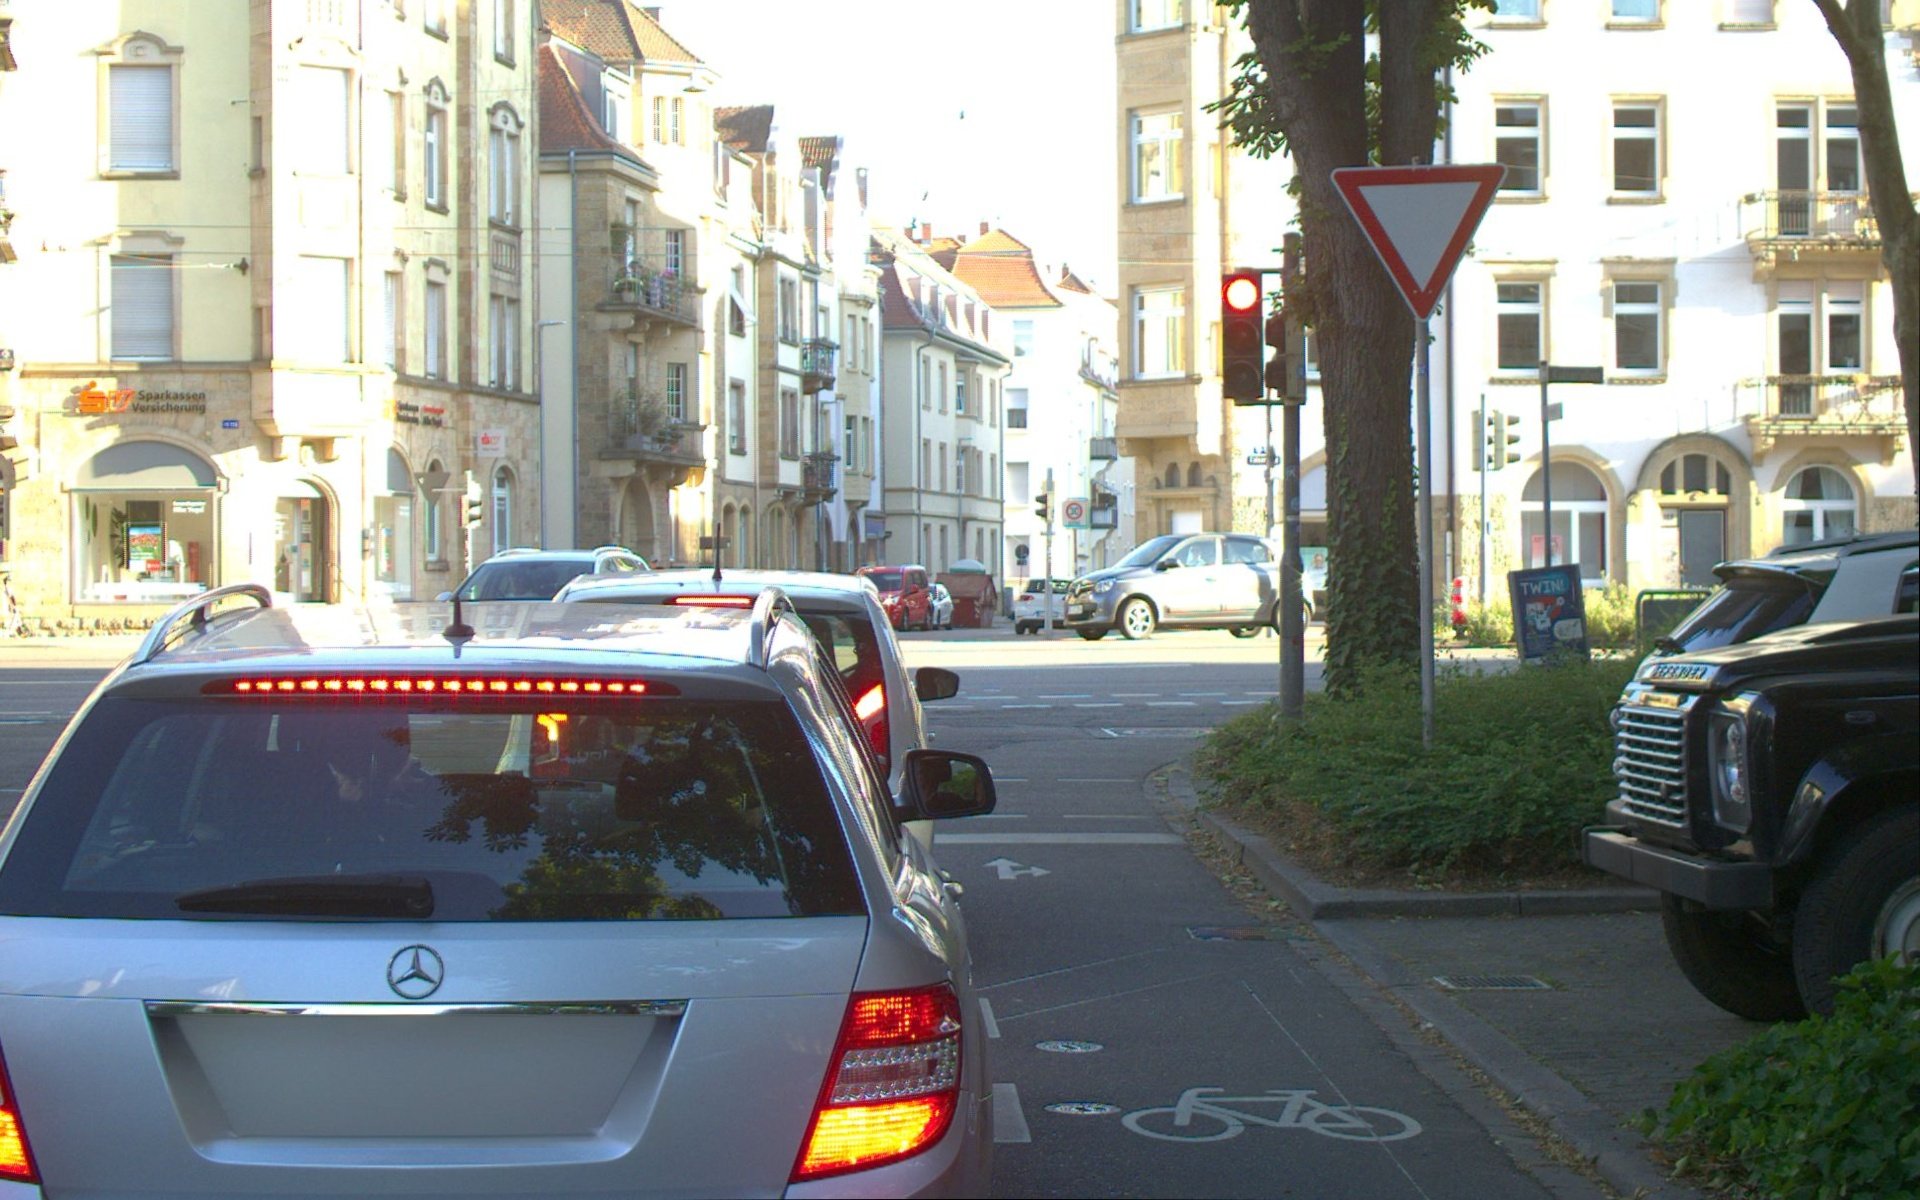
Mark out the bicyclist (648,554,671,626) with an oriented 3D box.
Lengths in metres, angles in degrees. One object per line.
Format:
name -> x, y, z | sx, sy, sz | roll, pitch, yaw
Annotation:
bicyclist -> -6.424, -0.215, 73.391 | 0.466, 1.516, 0.694 | 0, 1, -4

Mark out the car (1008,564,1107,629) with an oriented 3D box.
car -> 2.462, -0.112, 85.887 | 1.722, 1.473, 3.998 | -2, 1, 12

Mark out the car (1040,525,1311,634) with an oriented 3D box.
car -> 3.125, -0.324, 49.983 | 3.579, 1.496, 1.621 | -1, 2, -22

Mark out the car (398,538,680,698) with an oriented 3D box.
car -> -4.163, 0.133, 34.641 | 1.781, 1.457, 4.299 | 0, 2, 8

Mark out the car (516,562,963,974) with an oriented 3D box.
car -> -0.827, 0.561, 13.640 | 1.533, 1.386, 3.600 | 0, 1, -2

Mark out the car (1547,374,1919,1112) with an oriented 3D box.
car -> 4.193, 0.293, 10.171 | 4.490, 1.949, 1.793 | -2, 1, -3

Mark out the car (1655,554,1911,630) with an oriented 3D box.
car -> 11.901, -0.124, 49.790 | 3.364, 1.065, 1.380 | 0, 1, -1

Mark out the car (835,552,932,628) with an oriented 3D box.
car -> -2.004, -0.288, 90.773 | 1.938, 1.952, 4.149 | 0, 1, 8

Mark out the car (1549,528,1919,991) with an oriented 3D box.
car -> 4.174, 0.507, 12.958 | 3.480, 1.580, 1.711 | -2, 1, -6

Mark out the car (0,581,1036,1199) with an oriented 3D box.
car -> -0.846, 0.708, 6.492 | 1.690, 1.424, 3.493 | 1, 1, -3
